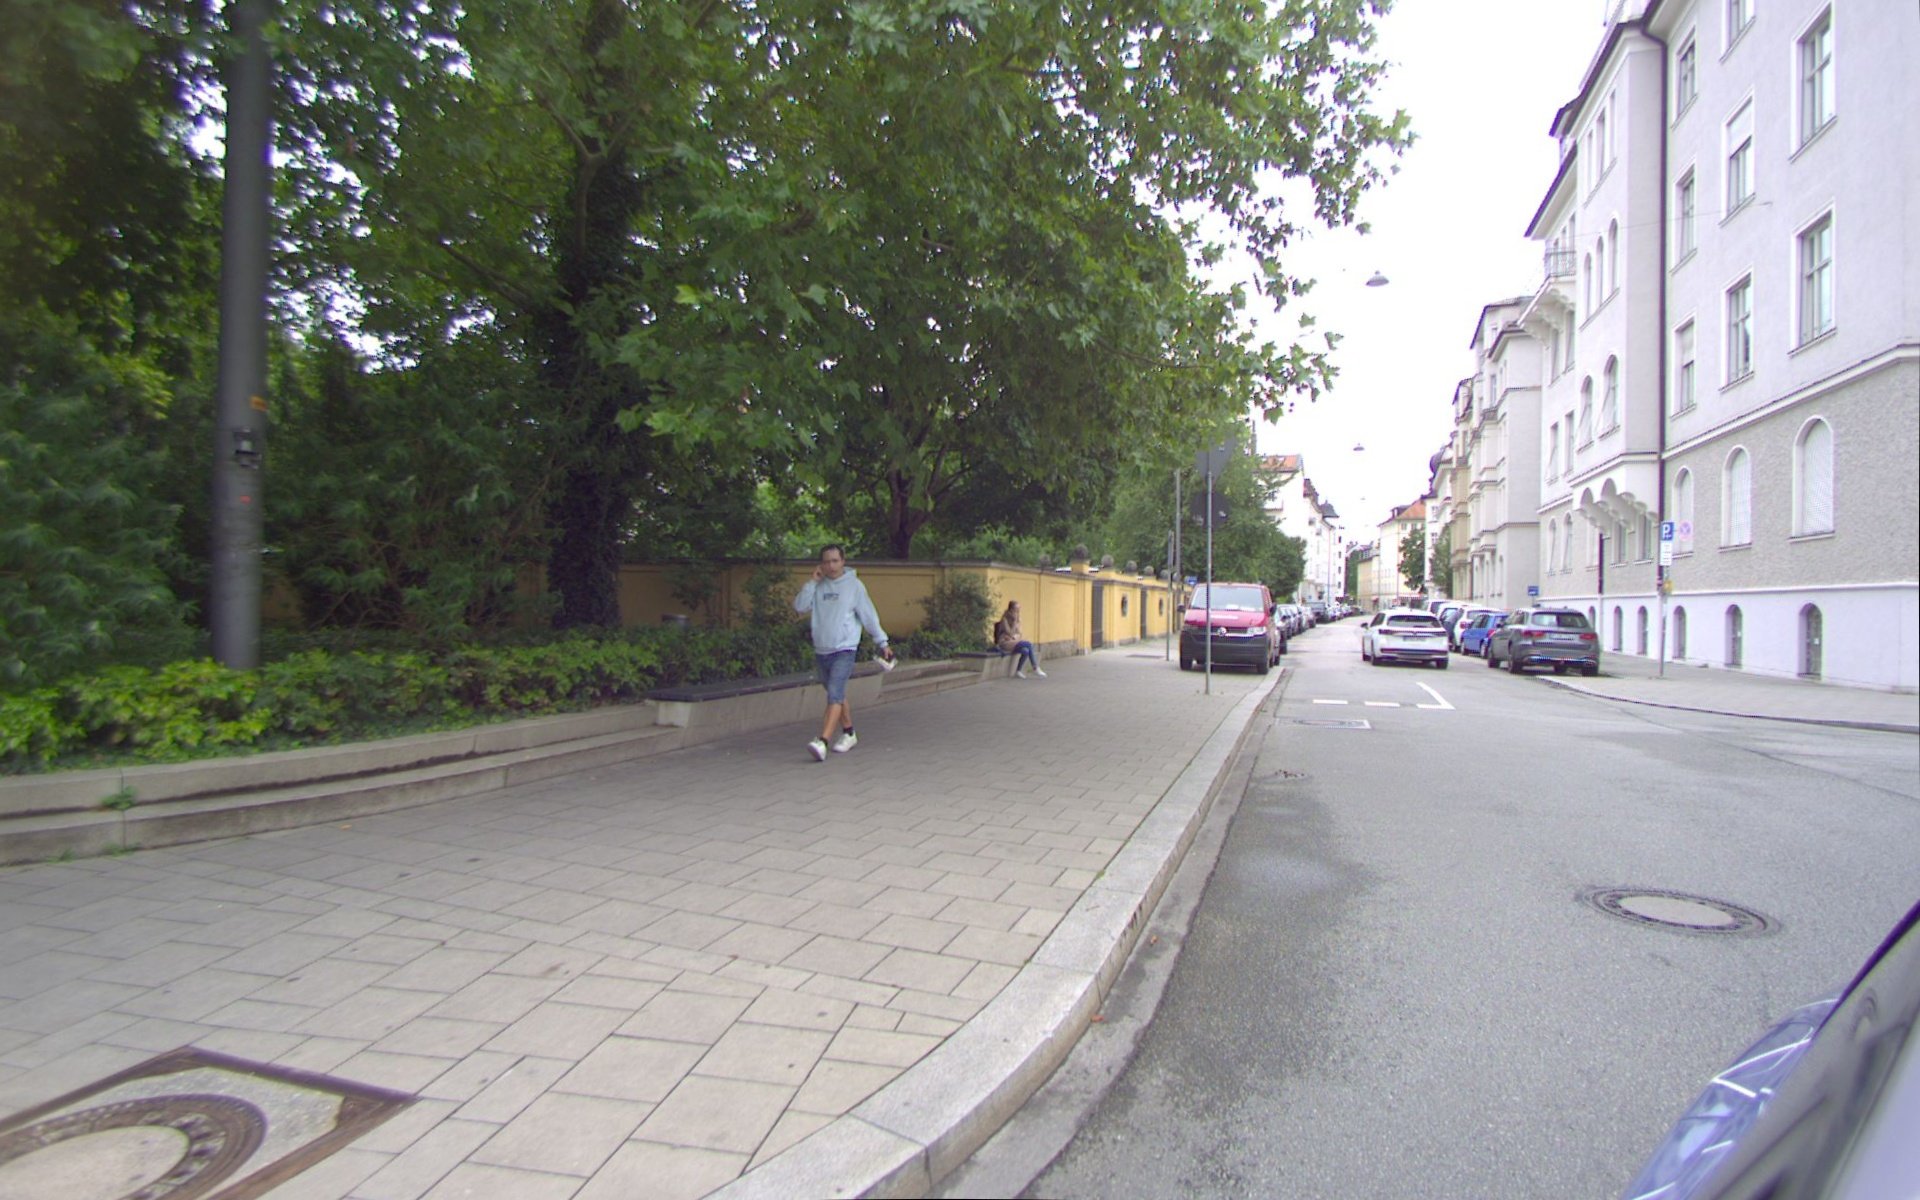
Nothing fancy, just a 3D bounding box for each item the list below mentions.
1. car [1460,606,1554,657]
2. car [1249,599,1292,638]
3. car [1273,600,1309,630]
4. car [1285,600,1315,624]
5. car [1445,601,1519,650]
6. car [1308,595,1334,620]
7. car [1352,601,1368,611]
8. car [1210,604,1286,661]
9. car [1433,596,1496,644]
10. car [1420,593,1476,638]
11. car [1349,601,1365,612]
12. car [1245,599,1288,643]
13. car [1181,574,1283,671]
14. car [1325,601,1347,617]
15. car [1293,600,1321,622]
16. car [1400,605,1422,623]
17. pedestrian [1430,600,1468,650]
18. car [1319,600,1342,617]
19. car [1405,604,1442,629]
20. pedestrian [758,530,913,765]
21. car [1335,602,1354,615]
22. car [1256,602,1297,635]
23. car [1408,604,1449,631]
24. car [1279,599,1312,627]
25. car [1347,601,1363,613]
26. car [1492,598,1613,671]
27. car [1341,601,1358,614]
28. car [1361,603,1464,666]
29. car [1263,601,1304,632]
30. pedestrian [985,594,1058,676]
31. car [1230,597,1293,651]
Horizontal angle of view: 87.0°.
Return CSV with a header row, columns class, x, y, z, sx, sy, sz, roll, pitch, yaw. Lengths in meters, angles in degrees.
class,x,y,z,sx,sy,sz,roll,pitch,yaw
car,17.427,0.960,32.411,1.672,1.432,3.648,2,1,13
car,13.144,0.761,42.748,1.495,1.586,2.848,-1,-1,22
car,18.562,0.810,56.643,1.697,1.590,4.658,1,0,21
car,22.172,0.772,65.912,1.698,1.471,4.155,1,0,21
car,18.915,0.871,36.825,1.730,1.622,4.468,2,1,19
car,30.903,0.673,86.544,1.975,1.986,4.402,-3,-2,21
car,65.856,0.953,166.510,1.981,1.615,4.256,-3,-2,28
car,8.091,0.864,28.290,1.865,1.467,4.344,-1,-1,17
car,20.951,0.783,42.217,1.731,1.810,5.003,2,1,20
car,23.057,0.699,47.965,1.839,1.962,4.924,2,1,20
car,63.683,1.080,162.184,1.979,1.615,4.387,-3,-2,26
car,11.711,0.772,38.584,1.469,1.559,3.671,-1,-1,18
car,6.250,0.463,22.903,1.856,1.945,4.856,-1,0,19
car,41.469,1.012,111.534,1.978,1.615,4.262,-3,-2,24
car,24.100,0.737,70.214,1.697,1.471,4.921,1,0,21
car,37.560,1.135,84.326,1.611,1.447,3.908,2,1,24
pedestrian,17.543,0.891,36.313,0.946,1.778,0.876,1,-1,-38
car,36.774,0.873,100.369,1.976,1.615,4.267,-3,-2,21
car,29.790,1.016,65.137,1.839,1.482,4.348,2,1,21
pedestrian,-1.007,0.359,8.393,0.866,1.793,1.044,1,0,22
car,51.053,1.108,134.258,1.978,1.615,4.262,-3,-2,24
car,14.567,0.811,46.456,1.676,1.432,4.010,-1,-1,19
car,27.956,1.018,60.463,1.840,1.430,4.348,3,1,21
car,20.437,0.751,61.551,1.698,1.590,4.290,1,0,21
car,61.426,1.061,157.288,1.979,1.704,4.260,-3,-2,26
car,14.784,0.789,25.495,1.730,1.622,4.468,2,1,19
car,55.404,1.080,143.970,1.978,1.615,4.262,-3,-2,24
car,11.878,0.830,26.856,1.865,1.467,4.865,0,0,17
car,16.372,0.790,51.067,1.677,1.432,4.483,1,0,21
pedestrian,1.067,0.576,17.429,1.002,1.355,0.869,1,0,24
car,10.181,0.774,33.976,1.866,1.674,4.794,-1,-1,18
